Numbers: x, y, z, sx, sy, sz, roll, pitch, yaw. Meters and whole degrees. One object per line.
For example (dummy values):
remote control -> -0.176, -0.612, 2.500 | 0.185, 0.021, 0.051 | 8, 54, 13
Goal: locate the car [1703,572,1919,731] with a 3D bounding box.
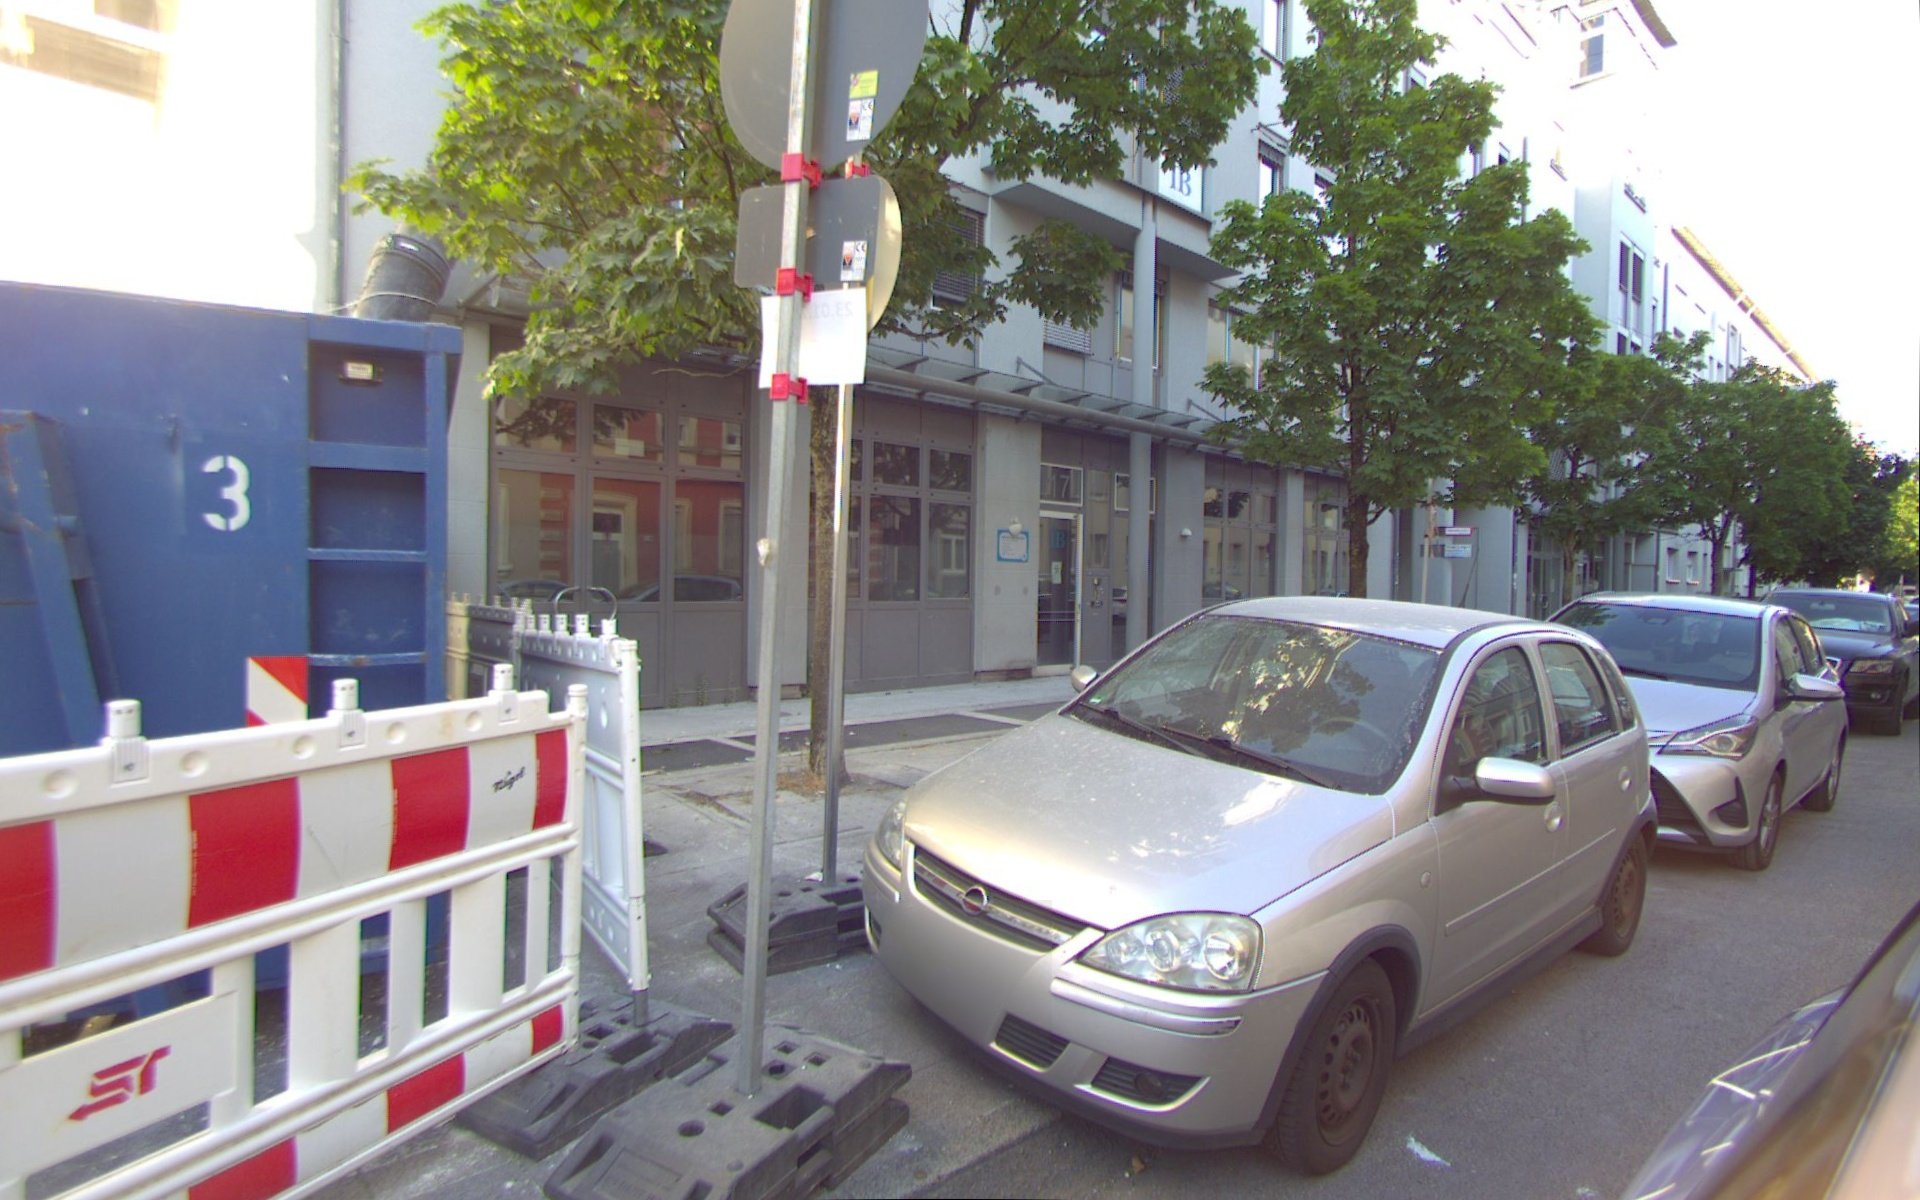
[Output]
car -> 11.229, 0.519, 13.005 | 4.360, 1.642, 1.888 | 0, 3, -43

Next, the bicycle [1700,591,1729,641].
bicycle -> 19.218, 0.380, 25.804 | 0.519, 1.182, 1.718 | 3, 3, 36

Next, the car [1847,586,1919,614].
car -> 59.918, -0.015, 65.193 | 1.967, 1.584, 3.991 | 0, 3, -44

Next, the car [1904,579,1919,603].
car -> 96.747, -0.899, 101.358 | 2.147, 2.311, 6.135 | 3, 3, 33

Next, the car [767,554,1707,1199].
car -> 1.307, 0.636, 3.890 | 3.664, 1.493, 1.680 | 0, 3, -40

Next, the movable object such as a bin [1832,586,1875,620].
movable object such as a bin -> 40.162, 0.122, 45.486 | 1.202, 1.454, 1.286 | 0, 3, -43

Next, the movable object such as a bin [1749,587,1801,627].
movable object such as a bin -> 29.271, 0.243, 36.359 | 1.120, 1.337, 1.263 | 0, 3, -43

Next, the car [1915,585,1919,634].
car -> 34.875, 0.353, 35.462 | 4.646, 1.655, 1.873 | -1, 3, -45

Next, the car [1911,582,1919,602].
car -> 87.975, -0.584, 90.139 | 2.038, 1.792, 4.228 | 1, 3, -13

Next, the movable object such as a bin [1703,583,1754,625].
movable object such as a bin -> 28.217, 0.128, 37.153 | 1.120, 1.454, 1.263 | 0, 3, -43

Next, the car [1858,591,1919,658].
car -> 22.941, 0.562, 24.208 | 4.272, 1.446, 1.766 | 0, 3, -43

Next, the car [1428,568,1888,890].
car -> 4.930, 0.610, 6.935 | 3.902, 1.543, 1.679 | 0, 3, -42
